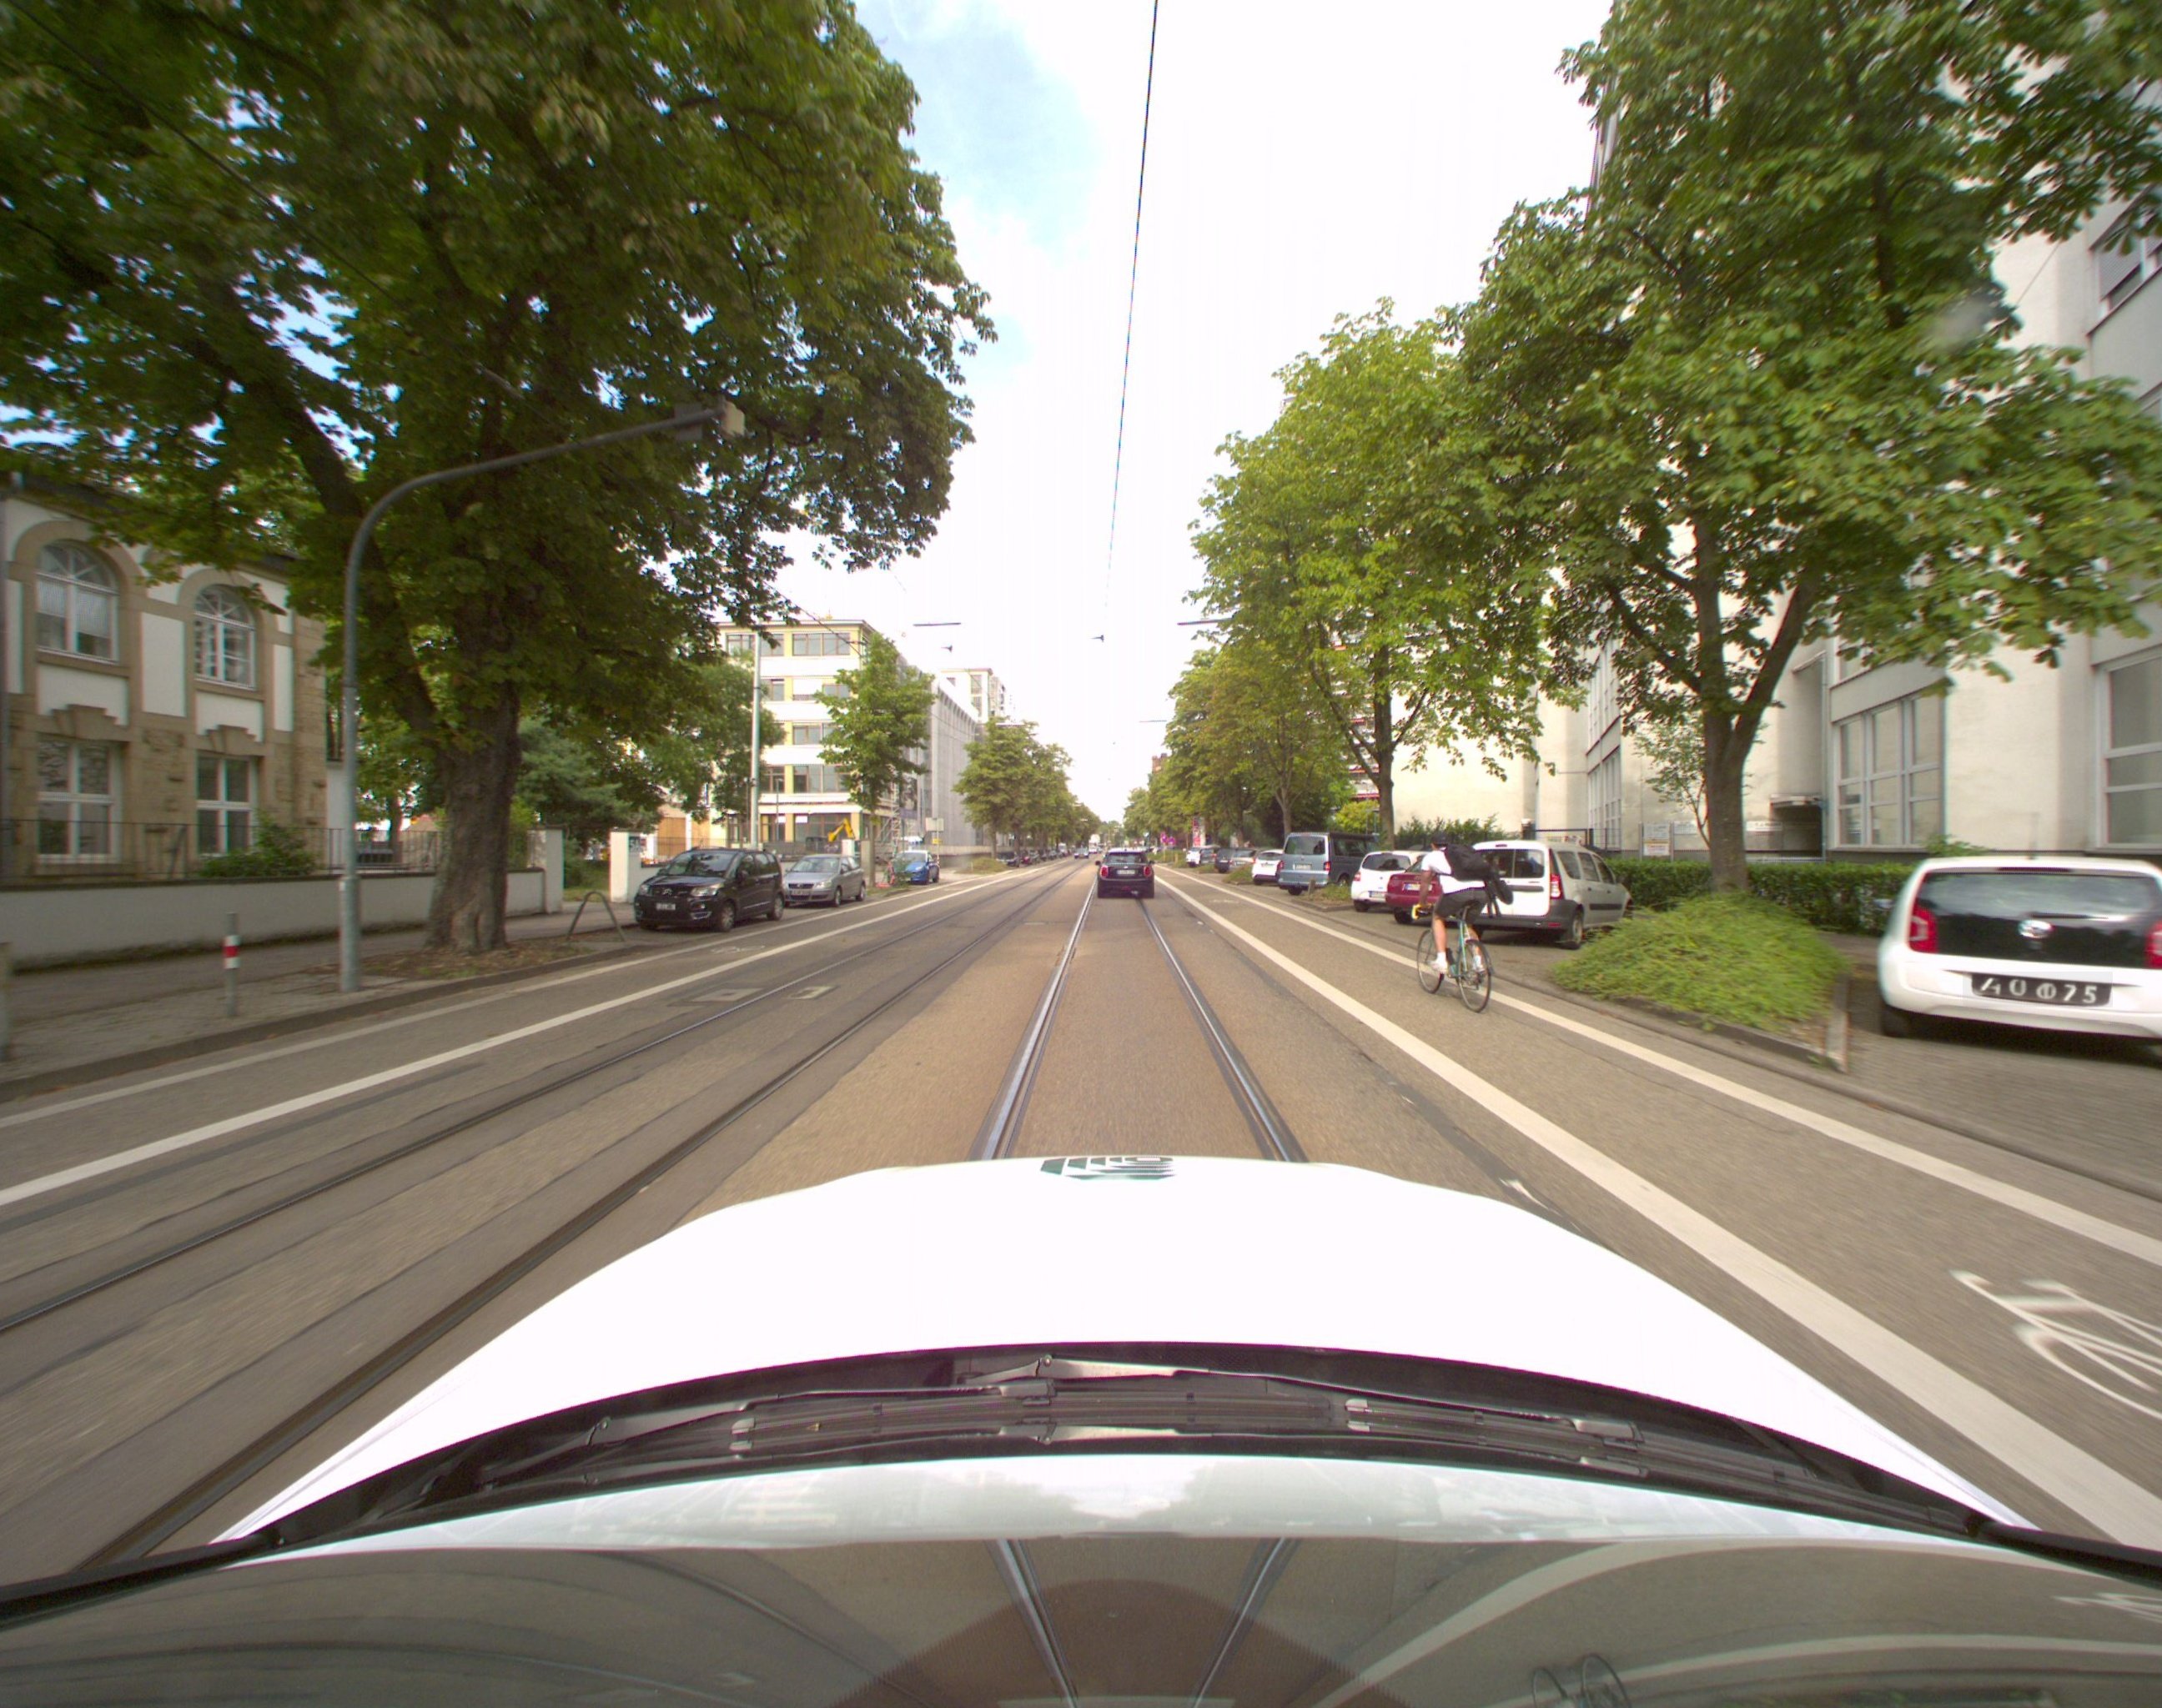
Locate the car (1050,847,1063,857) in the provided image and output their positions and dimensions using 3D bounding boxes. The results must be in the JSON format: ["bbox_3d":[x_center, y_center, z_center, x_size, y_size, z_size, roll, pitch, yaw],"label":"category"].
[{"bbox_3d":[-3.852,-0.369,130.241,1.796,1.583,4.032,-1,0,1],"label":"car"}]

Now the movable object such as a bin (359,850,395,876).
[{"bbox_3d":[-34.673,0.432,40.140,0.850,1.273,1.100,1,1,28],"label":"movable object such as a bin"}]

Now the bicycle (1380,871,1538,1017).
[{"bbox_3d":[3.800,0.835,8.412,0.655,1.249,2.125,1,1,1],"label":"bicycle"}]

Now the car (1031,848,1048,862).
[{"bbox_3d":[-5.091,0.092,99.647,1.796,1.583,4.032,-1,0,1],"label":"car"}]

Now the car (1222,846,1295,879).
[{"bbox_3d":[8.629,0.372,39.503,3.761,1.522,1.620,0,0,-44],"label":"car"}]

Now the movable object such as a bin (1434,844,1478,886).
[{"bbox_3d":[13.560,0.382,29.502,1.065,1.508,1.214,1,0,2],"label":"movable object such as a bin"}]

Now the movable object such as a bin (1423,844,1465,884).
[{"bbox_3d":[13.772,0.368,30.904,1.065,1.508,1.214,1,0,2],"label":"movable object such as a bin"}]

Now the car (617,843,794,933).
[{"bbox_3d":[-7.676,0.610,17.123,1.749,1.647,4.053,1,0,1],"label":"car"}]

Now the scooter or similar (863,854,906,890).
[{"bbox_3d":[-7.576,0.679,31.476,1.437,1.344,0.701,-1,0,3],"label":"scooter or similar"}]

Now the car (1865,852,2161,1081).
[{"bbox_3d":[8.226,0.740,7.217,4.115,1.511,1.669,0,0,-44],"label":"car"}]

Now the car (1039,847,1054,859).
[{"bbox_3d":[-4.626,-0.141,109.582,1.796,1.583,4.032,-1,0,1],"label":"car"}]

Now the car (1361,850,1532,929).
[{"bbox_3d":[7.548,0.643,16.663,3.996,1.432,1.669,0,0,-41],"label":"car"}]

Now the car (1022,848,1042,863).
[{"bbox_3d":[-5.372,0.112,88.912,1.796,1.583,4.032,-1,0,1],"label":"car"}]

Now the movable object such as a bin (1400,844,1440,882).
[{"bbox_3d":[13.628,0.344,32.776,1.065,1.508,1.335,1,0,2],"label":"movable object such as a bin"}]

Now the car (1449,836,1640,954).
[{"bbox_3d":[7.808,0.580,13.554,4.132,1.668,1.669,0,0,-44],"label":"car"}]

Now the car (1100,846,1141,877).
[{"bbox_3d":[1.996,0.329,41.914,1.788,1.470,3.998,1,0,-1],"label":"car"}]

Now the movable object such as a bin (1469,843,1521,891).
[{"bbox_3d":[13.484,0.417,26.561,1.065,1.508,1.324,1,0,2],"label":"movable object such as a bin"}]

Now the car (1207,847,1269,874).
[{"bbox_3d":[8.952,0.352,46.292,3.761,1.458,1.620,0,0,-44],"label":"car"}]

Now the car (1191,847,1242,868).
[{"bbox_3d":[9.359,0.212,56.140,3.463,1.442,1.543,0,0,-37],"label":"car"}]

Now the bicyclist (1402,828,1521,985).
[{"bbox_3d":[3.815,0.487,8.249,0.655,1.463,1.178,1,0,0],"label":"bicyclist"}]

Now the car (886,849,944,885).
[{"bbox_3d":[-7.231,0.520,35.805,1.687,1.487,3.678,1,0,1],"label":"car"}]

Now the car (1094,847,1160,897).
[{"bbox_3d":[1.354,0.504,25.366,1.788,1.423,3.999,1,0,-1],"label":"car"}]

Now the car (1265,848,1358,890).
[{"bbox_3d":[8.568,0.517,30.064,1.656,1.460,3.851,0,0,45],"label":"car"}]

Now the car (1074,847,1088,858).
[{"bbox_3d":[0.028,-0.182,111.584,1.828,1.448,4.555,0,0,1],"label":"car"}]

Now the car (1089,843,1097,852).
[{"bbox_3d":[2.857,-1.483,187.988,1.796,1.823,4.486,-1,0,1],"label":"car"}]

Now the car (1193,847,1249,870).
[{"bbox_3d":[9.156,0.248,53.071,3.552,1.442,1.606,0,0,-37],"label":"car"}]

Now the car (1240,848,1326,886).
[{"bbox_3d":[8.182,0.480,32.789,1.620,1.460,3.851,0,0,45],"label":"car"}]

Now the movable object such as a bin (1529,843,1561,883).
[{"bbox_3d":[18.513,0.356,32.504,1.022,1.562,1.085,1,0,25],"label":"movable object such as a bin"}]

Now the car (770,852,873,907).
[{"bbox_3d":[-7.453,0.692,23.779,1.687,1.427,3.869,1,0,1],"label":"car"}]

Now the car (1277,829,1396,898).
[{"bbox_3d":[8.272,0.278,26.176,4.300,2.015,1.809,0,0,-44],"label":"car"}]

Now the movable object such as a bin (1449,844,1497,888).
[{"bbox_3d":[13.548,0.398,28.205,1.065,1.508,1.324,1,0,2],"label":"movable object such as a bin"}]

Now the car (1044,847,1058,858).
[{"bbox_3d":[-4.347,-0.241,118.839,1.796,1.583,4.032,-1,0,1],"label":"car"}]

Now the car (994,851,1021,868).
[{"bbox_3d":[-6.248,0.438,69.655,1.796,1.374,4.032,-1,0,1],"label":"car"}]

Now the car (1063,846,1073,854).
[{"bbox_3d":[-2.749,-0.824,174.578,1.796,1.583,4.032,-1,0,1],"label":"car"}]

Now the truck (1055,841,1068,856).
[{"bbox_3d":[-3.392,-0.939,143.343,2.063,2.470,4.900,-1,0,1],"label":"truck"}]

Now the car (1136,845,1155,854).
[{"bbox_3d":[14.388,-0.958,182.101,3.976,1.910,1.999,1,1,-2],"label":"car"}]

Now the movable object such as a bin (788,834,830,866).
[{"bbox_3d":[-17.661,-0.248,52.982,1.977,2.067,1.962,0,0,4],"label":"movable object such as a bin"}]

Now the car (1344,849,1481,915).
[{"bbox_3d":[8.085,0.609,19.721,3.737,1.432,1.669,0,0,-44],"label":"car"}]

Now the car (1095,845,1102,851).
[{"bbox_3d":[4.378,-1.488,206.912,1.796,1.622,4.486,-1,0,1],"label":"car"}]

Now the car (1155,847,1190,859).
[{"bbox_3d":[11.023,-0.104,97.998,3.976,1.425,1.884,0,0,-2],"label":"car"}]

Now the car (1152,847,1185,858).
[{"bbox_3d":[11.265,-0.185,104.899,3.976,1.425,1.884,0,0,-2],"label":"car"}]

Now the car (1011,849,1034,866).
[{"bbox_3d":[-5.723,0.290,80.044,1.796,1.583,4.032,-1,0,1],"label":"car"}]

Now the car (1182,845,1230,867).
[{"bbox_3d":[9.096,0.099,59.234,3.463,1.572,1.543,0,0,-37],"label":"car"}]
